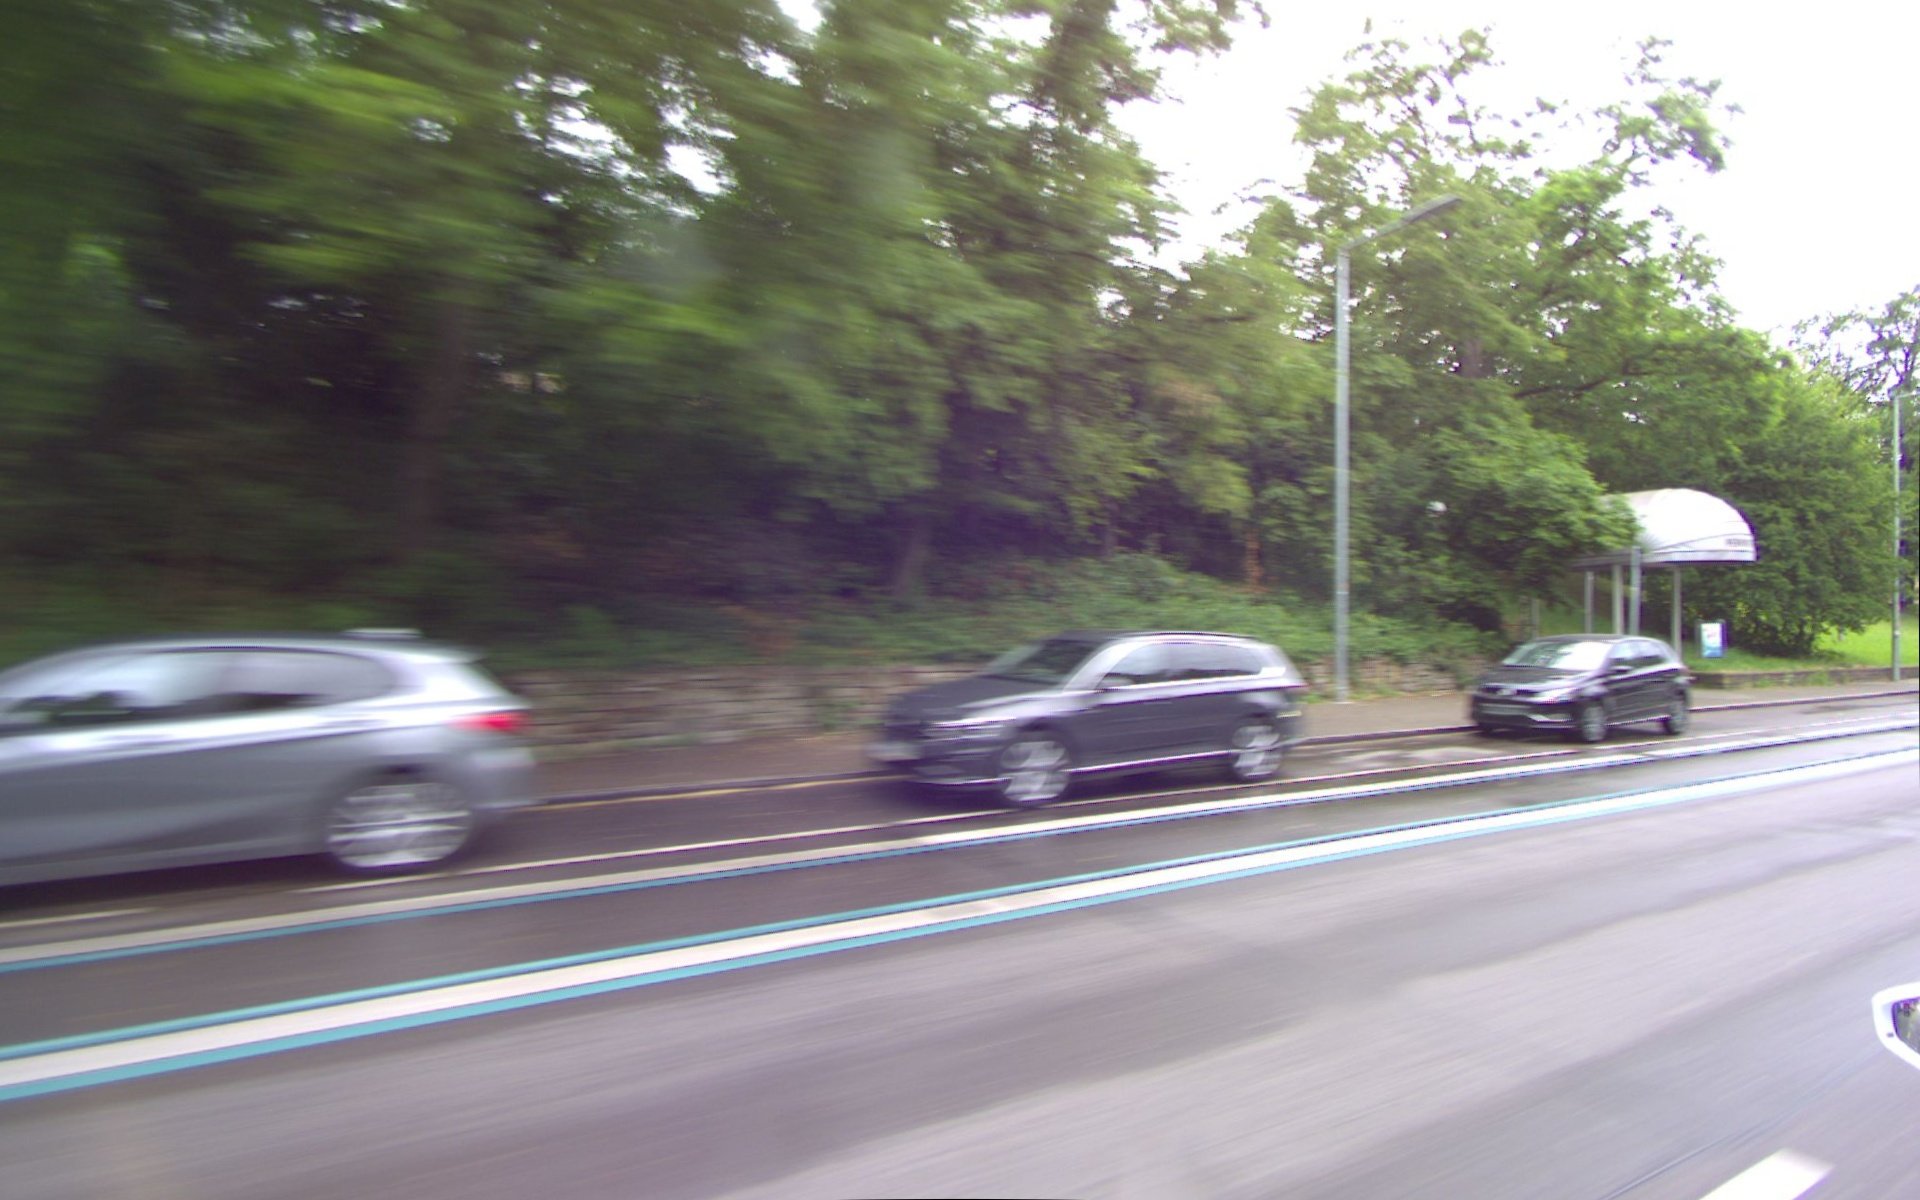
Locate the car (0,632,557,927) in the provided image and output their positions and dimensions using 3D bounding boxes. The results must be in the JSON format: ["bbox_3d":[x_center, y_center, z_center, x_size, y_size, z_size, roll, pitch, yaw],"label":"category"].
[{"bbox_3d":[-4.853,0.946,6.114,4.246,1.442,1.775,0,-1,-31],"label":"car"}]

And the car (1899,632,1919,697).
[{"bbox_3d":[24.360,1.523,23.851,4.625,1.502,2.064,1,-1,-34],"label":"car"}]

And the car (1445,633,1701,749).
[{"bbox_3d":[9.064,1.234,14.777,3.949,1.477,1.662,1,-1,-32],"label":"car"}]

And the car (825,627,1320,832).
[{"bbox_3d":[1.230,1.044,9.811,4.707,1.483,1.944,0,0,-34],"label":"car"}]
